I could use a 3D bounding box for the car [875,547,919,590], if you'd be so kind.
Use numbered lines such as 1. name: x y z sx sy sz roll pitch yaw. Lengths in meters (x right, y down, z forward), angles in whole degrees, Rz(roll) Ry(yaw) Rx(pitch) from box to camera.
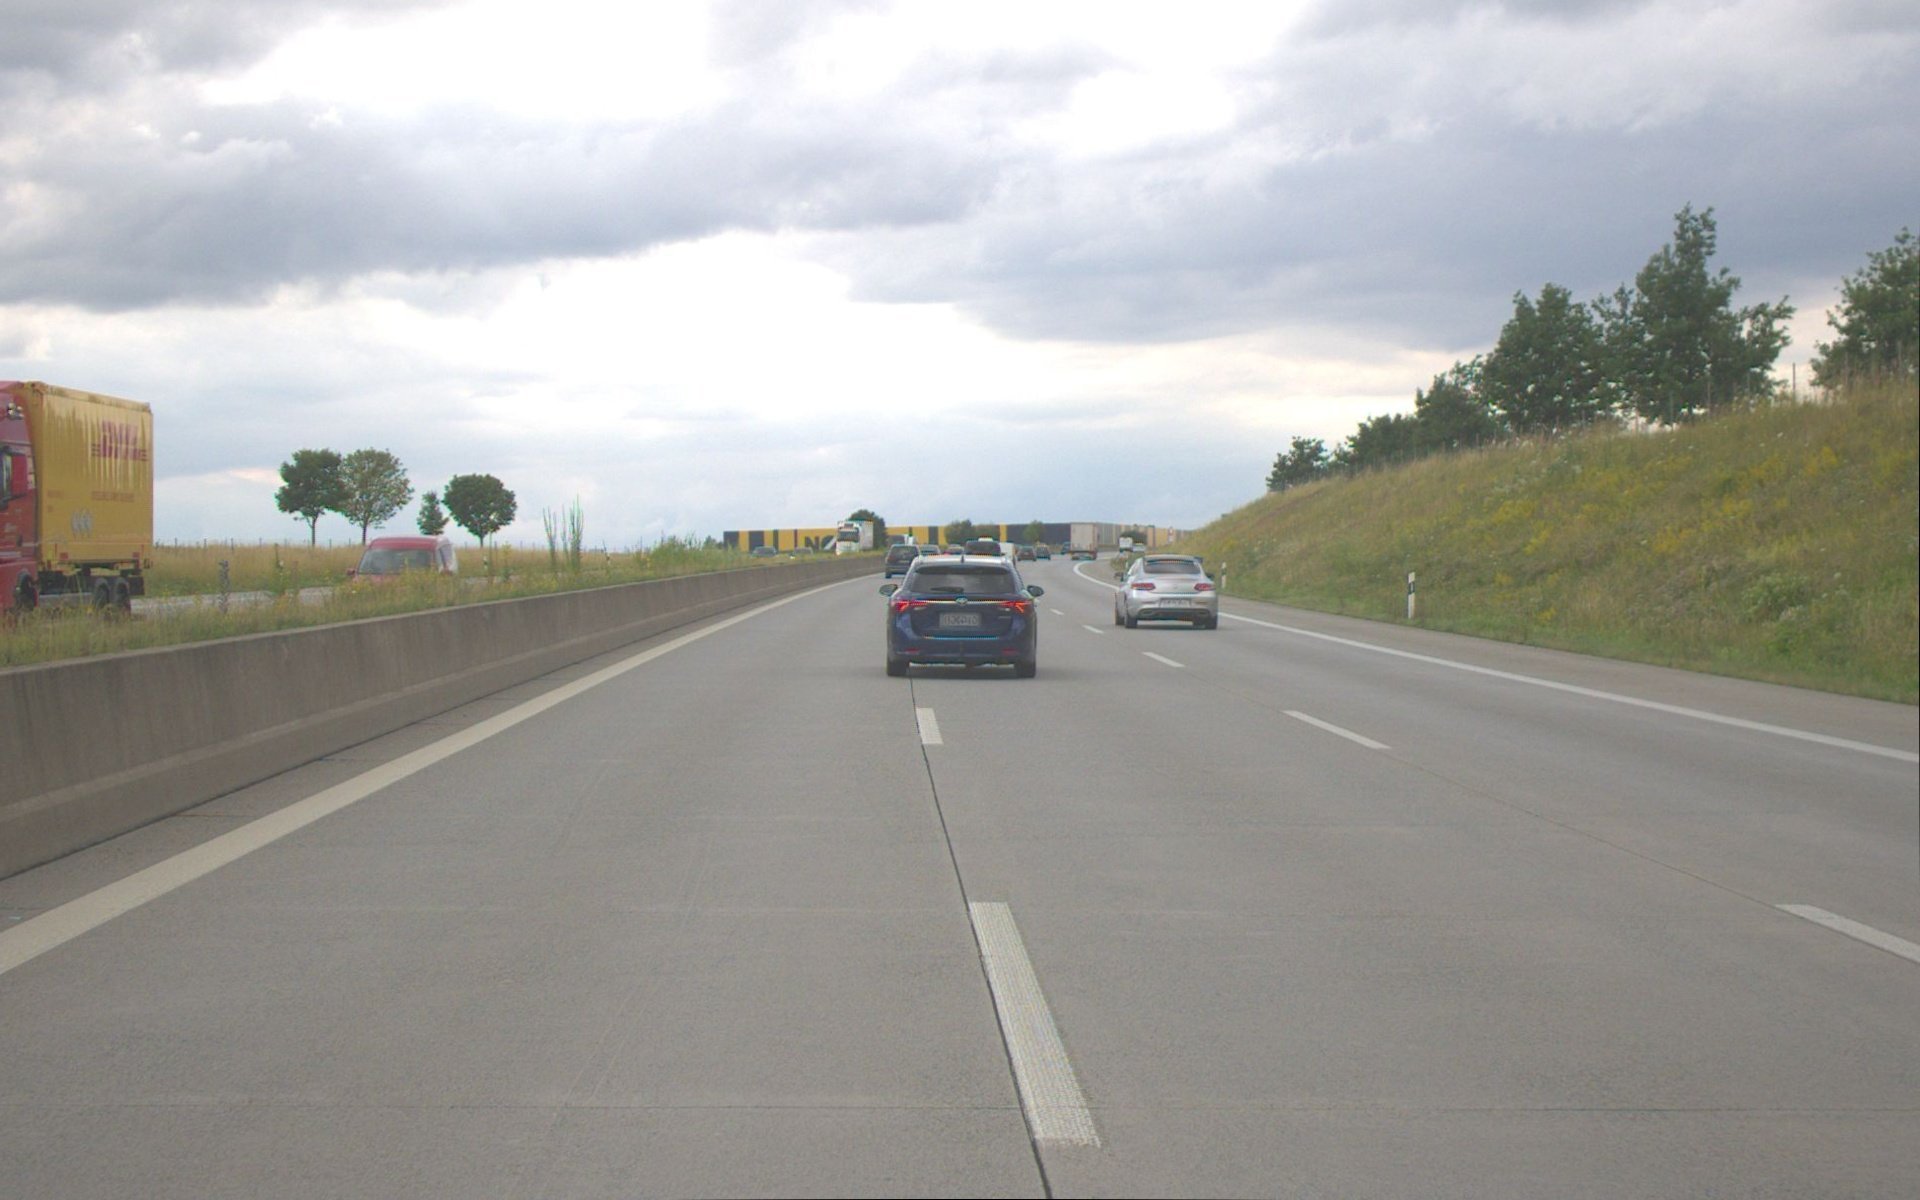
1. car: -3.056 -1.514 165.513 2.046 2.007 4.000 1 0 -1

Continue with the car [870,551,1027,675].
1. car: -0.091 0.131 41.610 1.774 1.408 4.000 0 0 1

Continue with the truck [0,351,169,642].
1. truck: -14.680 -1.531 52.834 2.816 4.024 10.569 0 1 -1

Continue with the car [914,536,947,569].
1. car: -1.871 -3.032 218.315 1.993 2.007 4.000 1 0 -1

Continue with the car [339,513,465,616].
1. car: -11.108 -0.691 68.741 1.812 1.956 5.341 1 0 -2

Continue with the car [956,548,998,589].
1. car: 0.844 -1.559 172.737 1.993 2.007 4.000 1 0 -1

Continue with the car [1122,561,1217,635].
1. car: 4.113 -0.053 67.660 1.789 1.399 4.221 0 0 3
